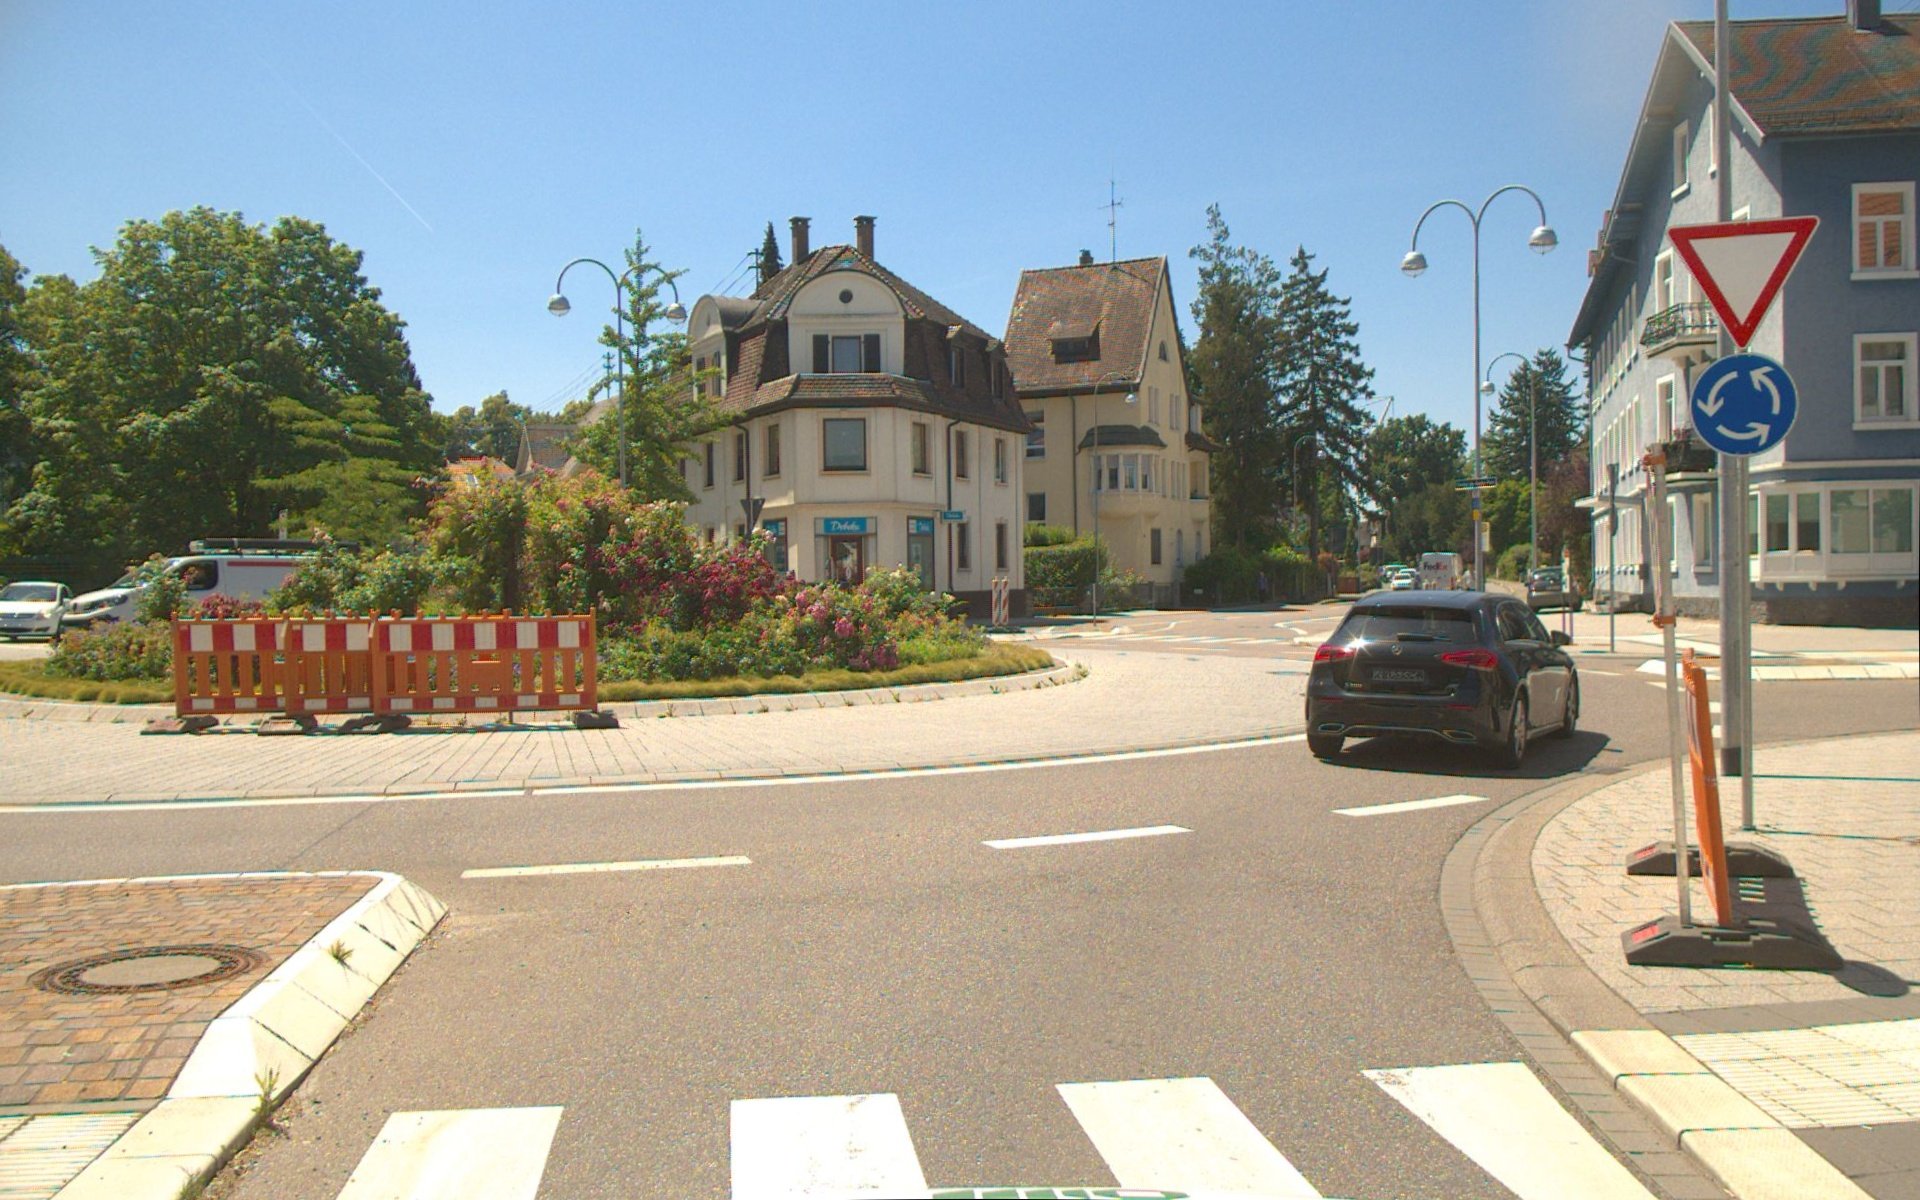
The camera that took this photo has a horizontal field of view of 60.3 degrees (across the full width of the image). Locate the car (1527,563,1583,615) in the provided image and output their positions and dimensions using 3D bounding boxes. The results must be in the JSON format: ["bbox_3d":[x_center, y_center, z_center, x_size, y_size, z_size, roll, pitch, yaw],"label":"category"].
[{"bbox_3d":[19.842,-0.389,55.246,1.606,1.533,3.565,-4,0,19],"label":"car"}]

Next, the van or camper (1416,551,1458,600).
[{"bbox_3d":[26.638,-1.378,92.270,2.159,2.656,4.002,0,0,17],"label":"van or camper"}]

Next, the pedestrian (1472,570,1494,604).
[{"bbox_3d":[21.009,-0.520,66.435,0.653,1.308,0.586,-4,-1,27],"label":"pedestrian"}]

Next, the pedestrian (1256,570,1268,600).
[{"bbox_3d":[15.354,-0.769,84.041,0.512,1.535,0.473,-1,0,25],"label":"pedestrian"}]

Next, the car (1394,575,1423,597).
[{"bbox_3d":[34.818,-1.078,128.302,1.952,1.680,4.002,0,0,18],"label":"car"}]

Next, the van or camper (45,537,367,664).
[{"bbox_3d":[-14.292,-0.050,31.700,1.960,2.209,5.393,1,1,36],"label":"van or camper"}]

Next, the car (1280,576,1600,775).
[{"bbox_3d":[4.463,0.551,14.973,1.917,1.452,3.993,1,2,30],"label":"car"}]

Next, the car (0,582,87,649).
[{"bbox_3d":[-23.699,0.360,42.363,1.758,1.625,3.899,-1,1,-19],"label":"car"}]
